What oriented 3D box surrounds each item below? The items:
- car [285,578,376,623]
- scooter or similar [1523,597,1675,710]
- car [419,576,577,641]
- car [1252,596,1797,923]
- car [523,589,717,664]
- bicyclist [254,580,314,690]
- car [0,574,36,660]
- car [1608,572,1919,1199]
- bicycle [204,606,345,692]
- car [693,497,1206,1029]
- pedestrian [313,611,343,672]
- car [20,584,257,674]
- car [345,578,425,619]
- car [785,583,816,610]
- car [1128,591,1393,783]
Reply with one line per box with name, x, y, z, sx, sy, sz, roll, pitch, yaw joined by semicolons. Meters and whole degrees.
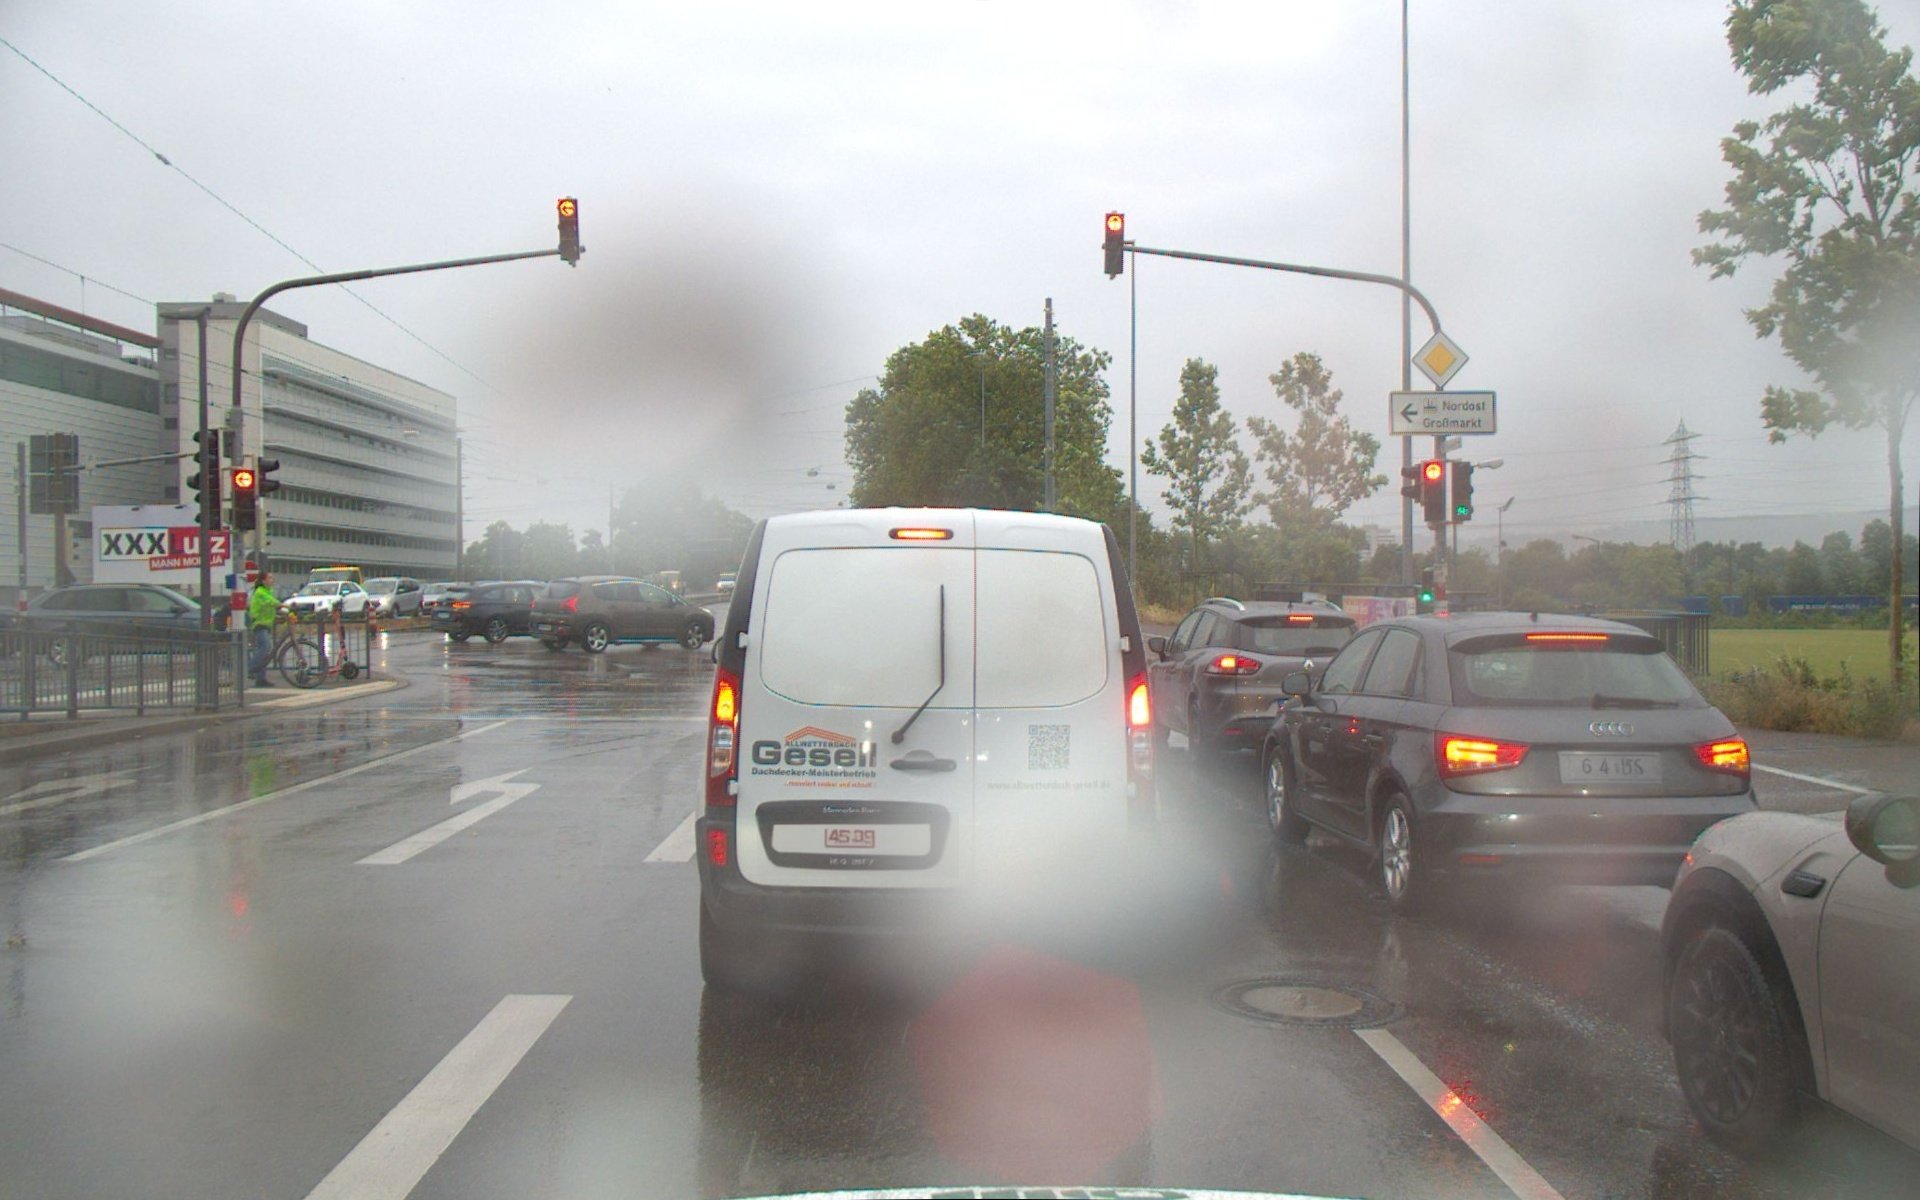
car;-21.585;0.042;56.856;1.676;1.451;3.808;2;-1;-1
scooter or similar;7.638;0.596;19.950;0.676;1.232;3.020;0;0;0
car;-11.349;0.226;40.789;1.619;1.422;3.439;4;0;37
car;2.778;0.721;9.000;1.565;1.390;3.628;-1;-1;-3
car;-7.411;0.600;36.287;3.889;1.422;1.513;4;0;-41
bicyclist;-9.528;0.485;23.299;0.600;1.517;0.591;2;0;-41
car;-21.176;0.245;33.738;3.729;1.703;1.697;4;0;-21
car;2.930;0.747;3.278;1.668;1.534;3.879;3;0;-1
bicycle;-9.593;0.676;23.184;1.745;1.157;0.512;1;0;-43
car;-0.177;0.521;7.686;1.719;1.780;4.166;1;1;-4
pedestrian;-9.696;0.638;25.378;0.309;0.913;0.380;2;0;-3
car;-15.154;0.539;30.722;3.731;1.422;1.526;4;0;-22
car;-21.763;-0.023;62.760;1.676;1.451;3.808;2;-1;-1
car;-10.754;-0.213;112.062;1.909;1.691;4.460;2;-1;-4
car;2.664;0.710;15.507;1.650;1.534;3.919;1;0;-2
